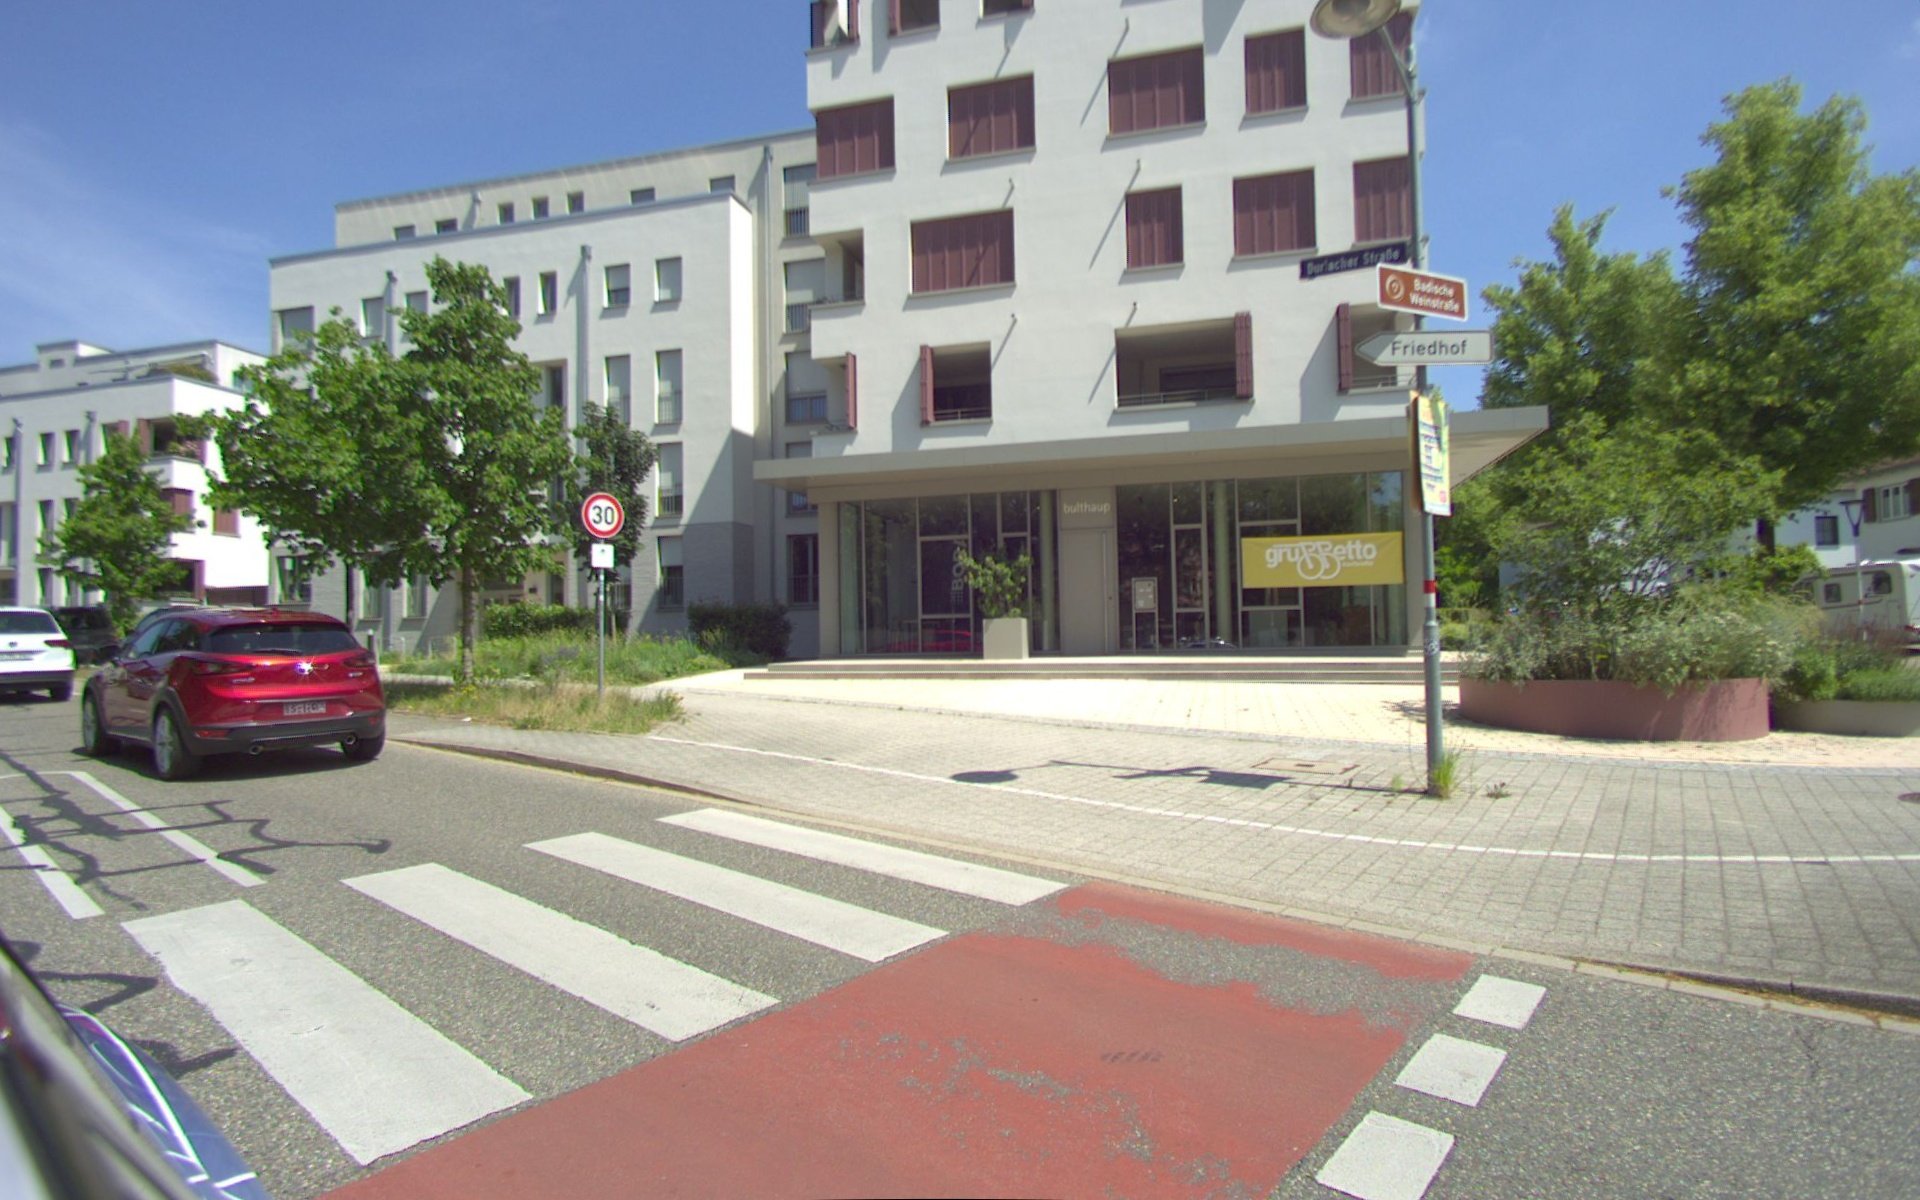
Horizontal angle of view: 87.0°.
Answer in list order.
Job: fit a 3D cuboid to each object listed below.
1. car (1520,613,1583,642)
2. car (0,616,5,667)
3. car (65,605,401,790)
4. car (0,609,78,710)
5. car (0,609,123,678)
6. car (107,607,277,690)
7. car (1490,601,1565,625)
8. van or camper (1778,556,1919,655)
[{"bbox_3d":[31.722,1.454,54.362,1.738,1.516,3.976,-1,-1,12],"label":"car"},{"bbox_3d":[-31.926,1.308,31.769,3.610,1.602,1.774,-1,-1,28],"label":"car"},{"bbox_3d":[-7.445,0.852,10.245,3.987,1.516,1.734,-2,-2,38],"label":"car"},{"bbox_3d":[-17.000,0.984,17.503,4.112,1.621,1.794,-1,-1,37],"label":"car"},{"bbox_3d":[-23.825,1.104,26.697,3.616,1.713,1.681,-1,-1,33],"label":"car"},{"bbox_3d":[-16.726,1.002,22.011,4.008,1.650,1.681,-1,-1,33],"label":"car"},{"bbox_3d":[39.107,0.914,69.795,4.069,1.621,1.813,0,-1,6],"label":"car"},{"bbox_3d":[27.395,0.130,29.968,2.250,2.658,5.864,-4,-2,11],"label":"van or camper"}]
